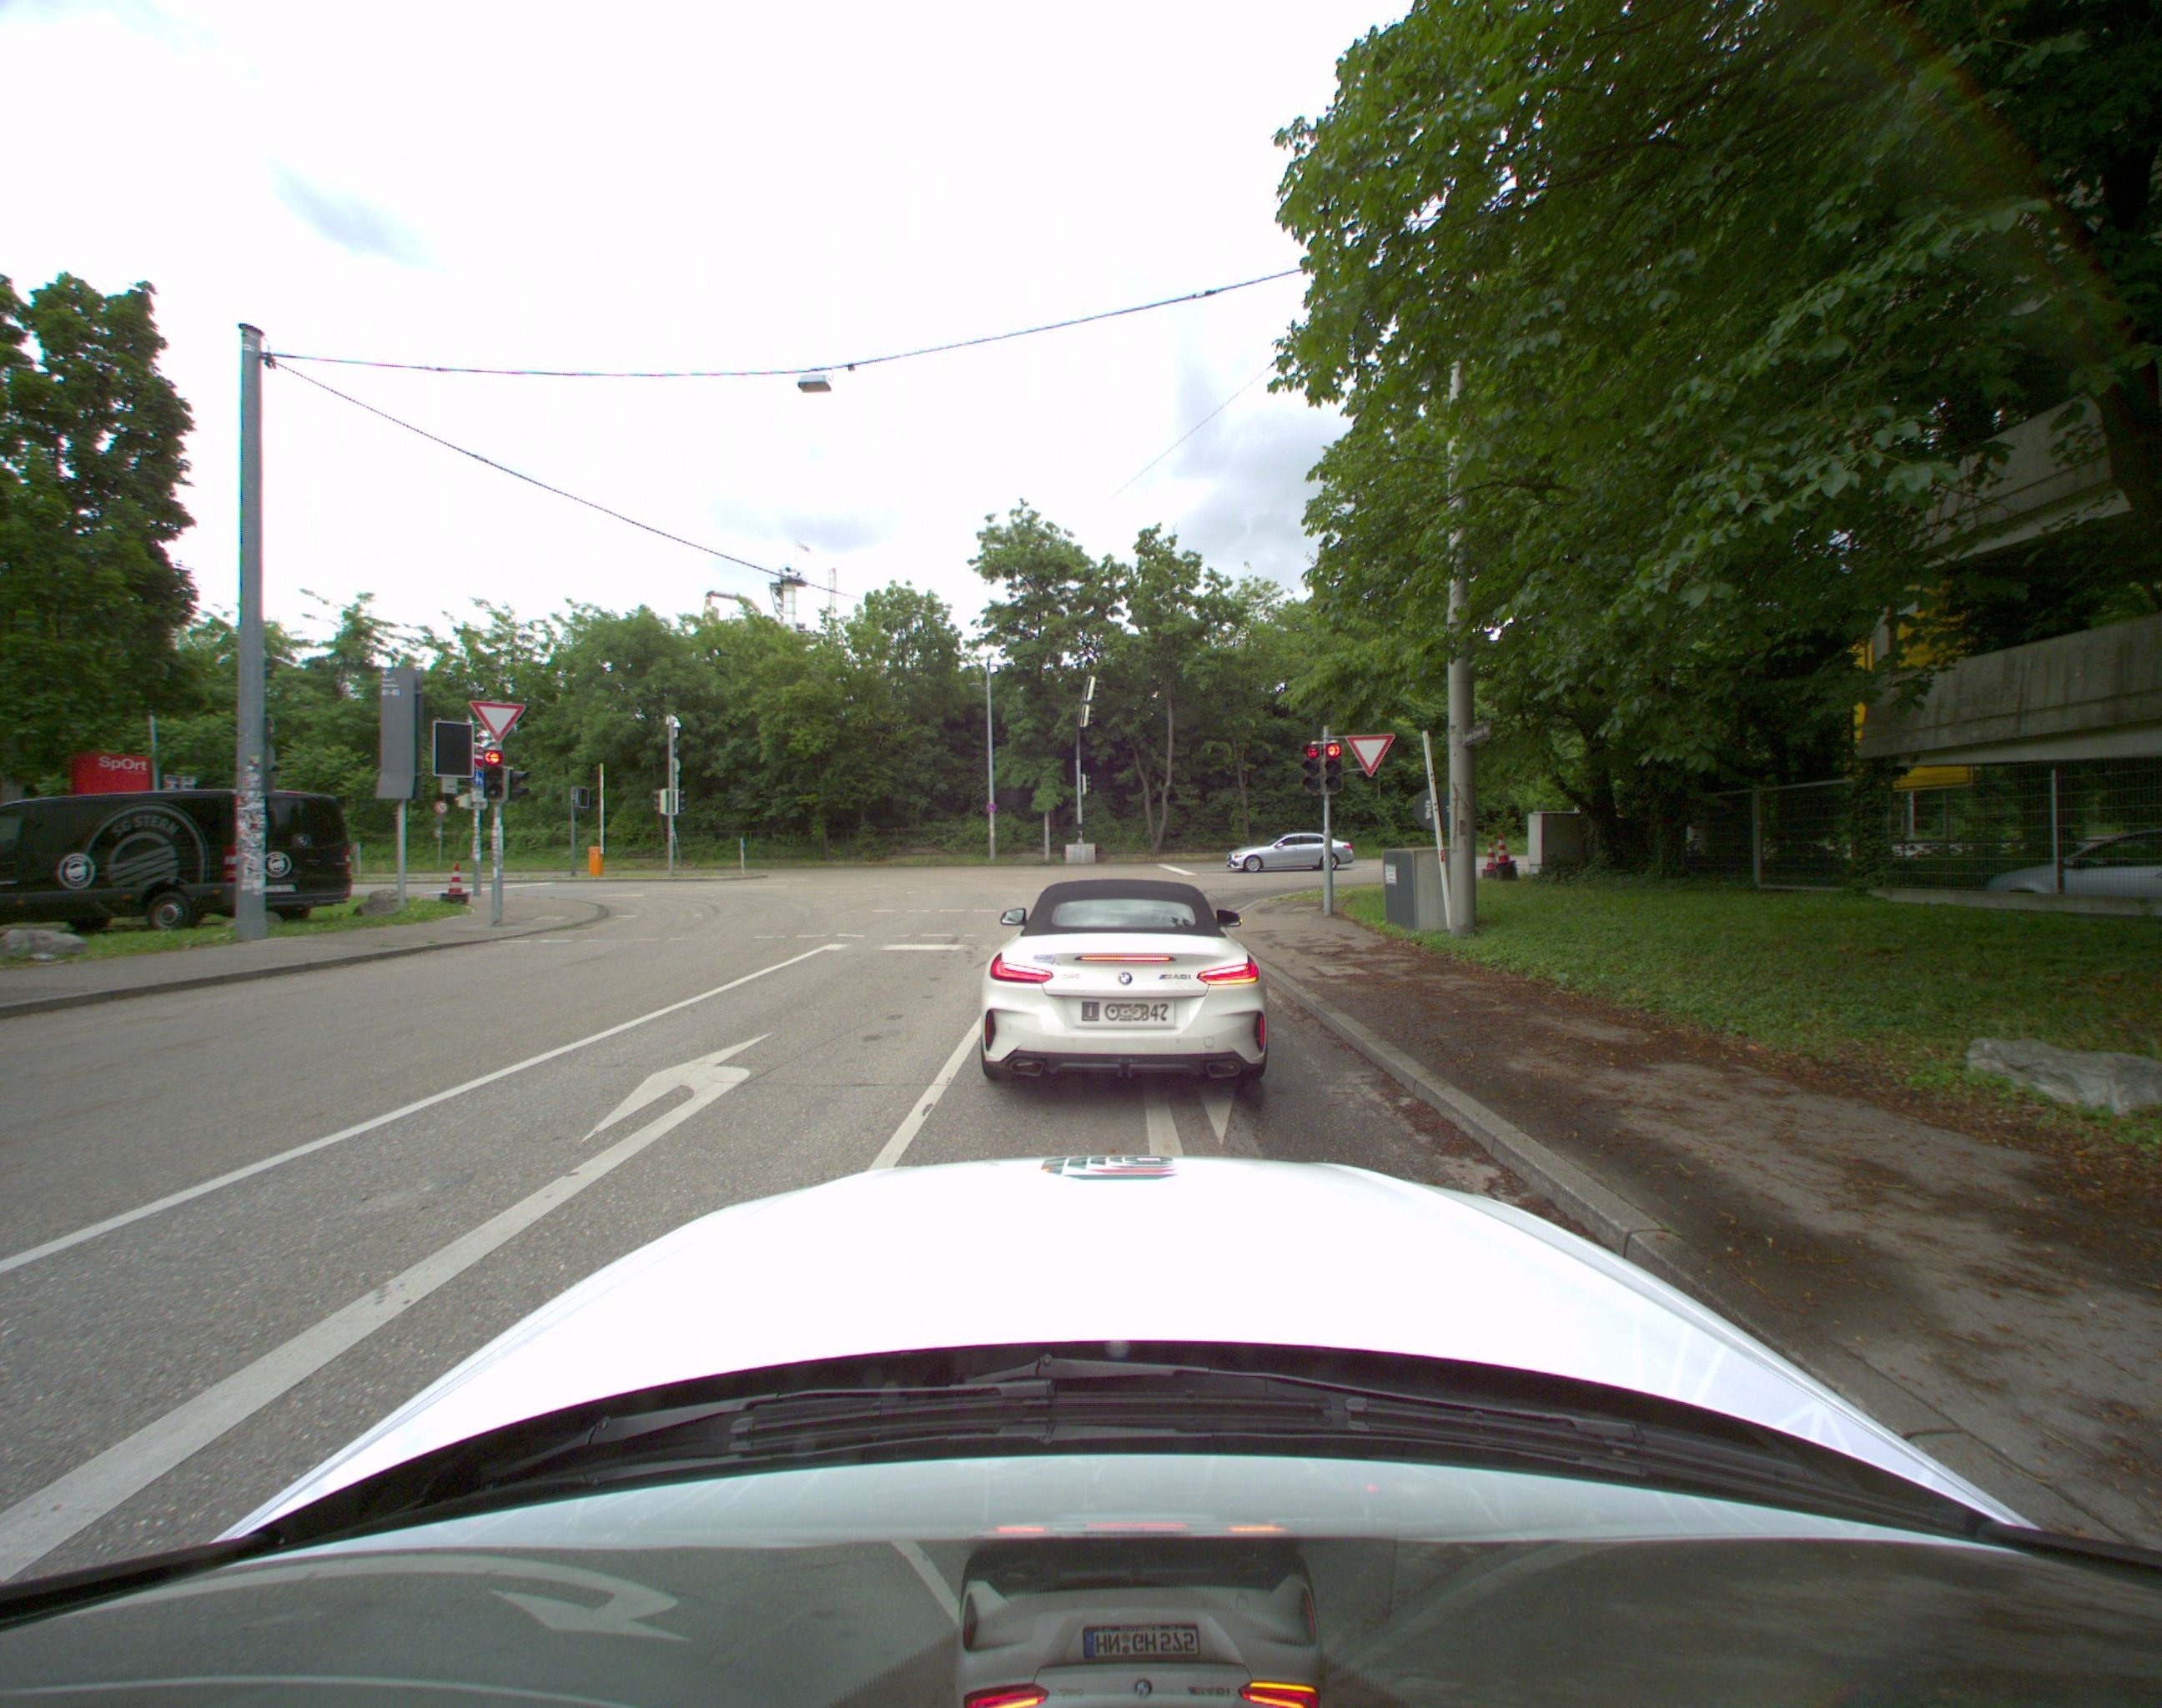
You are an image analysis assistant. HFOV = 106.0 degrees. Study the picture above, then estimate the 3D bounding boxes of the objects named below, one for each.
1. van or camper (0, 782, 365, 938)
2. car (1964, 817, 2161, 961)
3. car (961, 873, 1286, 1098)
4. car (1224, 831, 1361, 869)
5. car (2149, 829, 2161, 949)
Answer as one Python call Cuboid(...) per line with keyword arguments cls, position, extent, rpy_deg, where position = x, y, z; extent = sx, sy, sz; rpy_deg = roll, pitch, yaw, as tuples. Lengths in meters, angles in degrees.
Cuboid(cls="van or camper", position=(-15.891, 0.156, 13.945), extent=(5.513, 2.314, 2.063), rpy_deg=(-2, -2, 2))
Cuboid(cls="car", position=(13.613, 0.429, 10.046), extent=(1.475, 1.708, 3.720), rpy_deg=(0, -1, 2))
Cuboid(cls="car", position=(0.242, 0.789, 6.581), extent=(1.822, 1.257, 3.998), rpy_deg=(0, -1, 0))
Cuboid(cls="car", position=(7.982, -0.180, 31.003), extent=(4.737, 1.333, 1.833), rpy_deg=(-1, 2, -1))
Cuboid(cls="car", position=(16.006, 0.456, 9.738), extent=(1.574, 1.708, 3.770), rpy_deg=(0, -1, 2))
